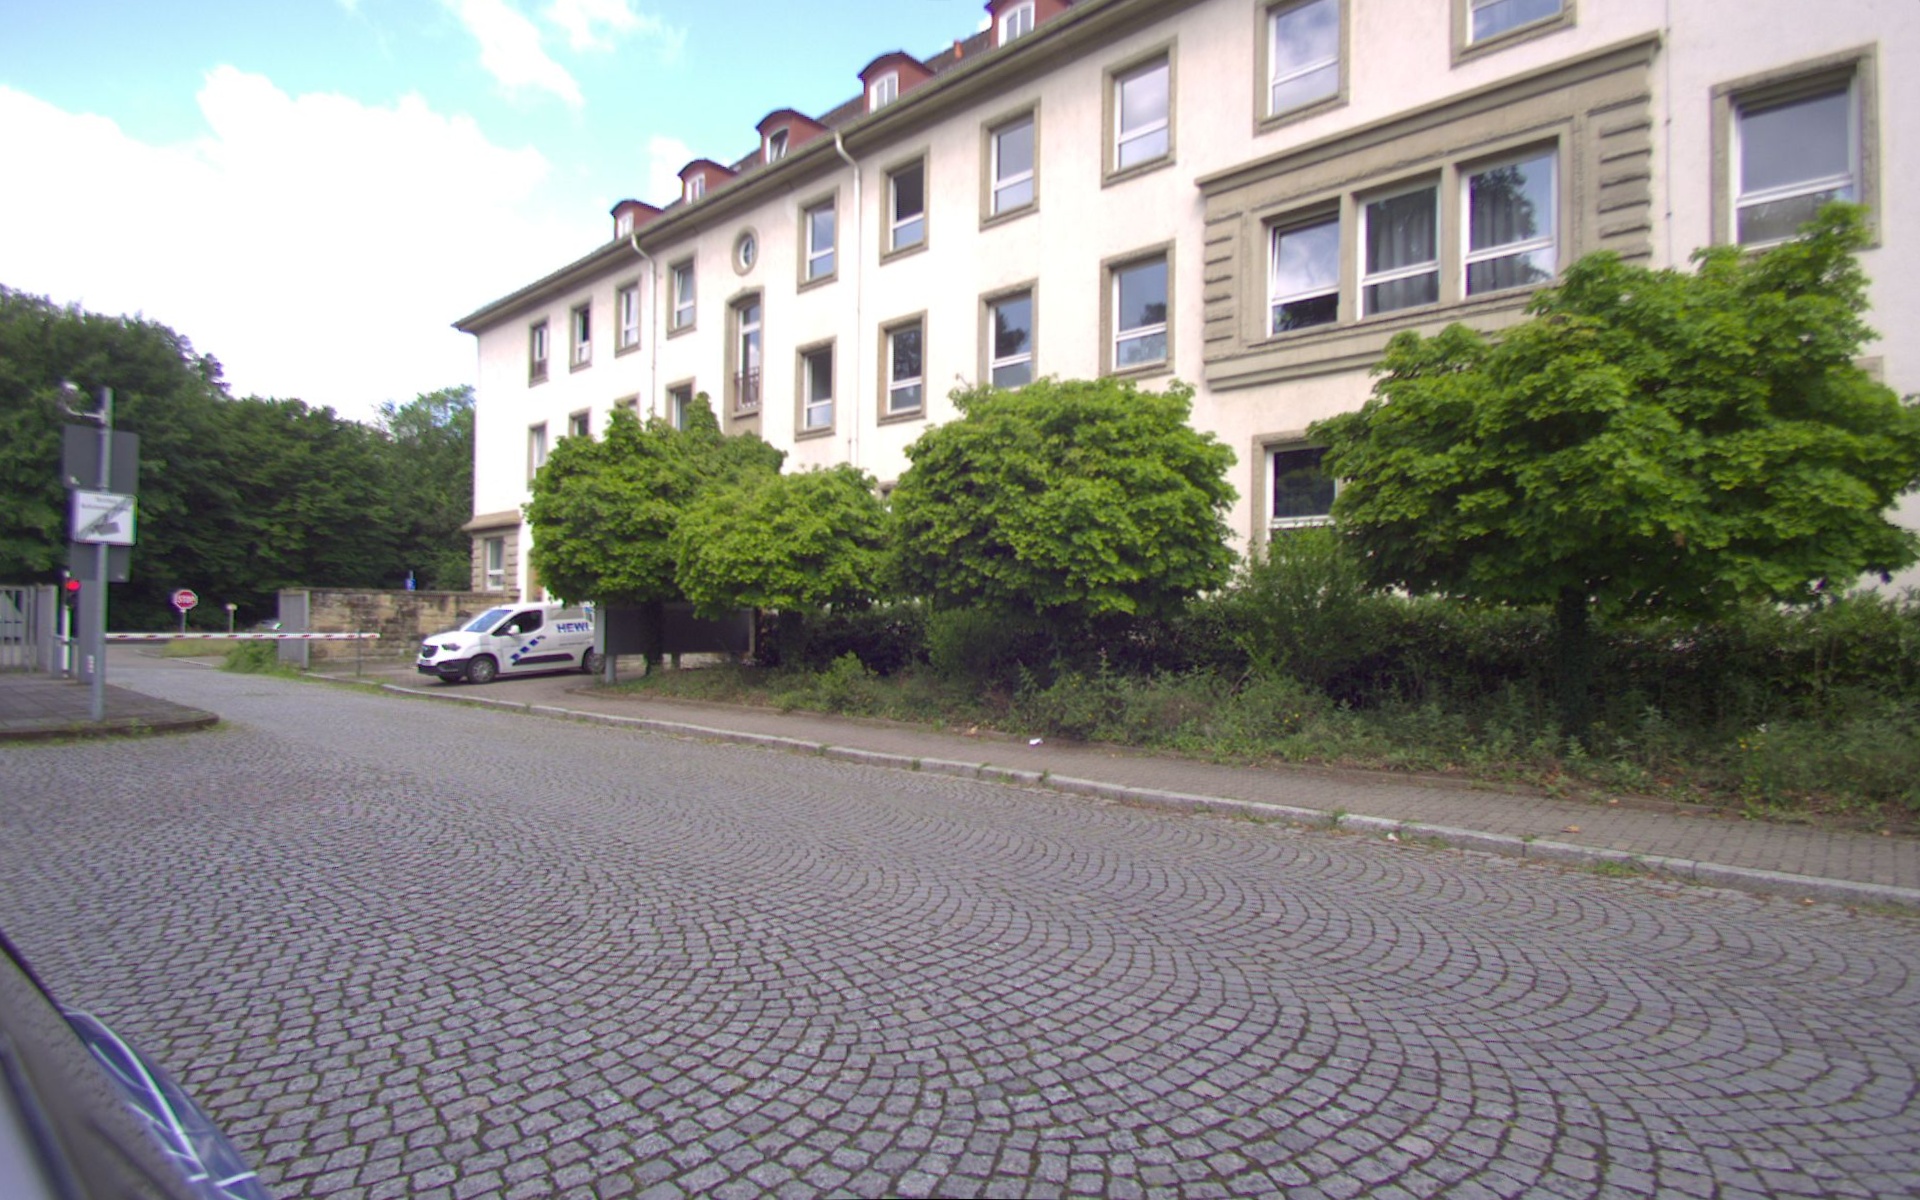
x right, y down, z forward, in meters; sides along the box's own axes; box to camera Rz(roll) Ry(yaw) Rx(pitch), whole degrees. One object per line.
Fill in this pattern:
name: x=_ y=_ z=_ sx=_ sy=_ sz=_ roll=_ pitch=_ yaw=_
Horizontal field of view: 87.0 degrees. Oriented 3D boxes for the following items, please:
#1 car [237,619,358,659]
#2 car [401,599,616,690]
car: x=-27.203 y=1.569 z=41.628 sx=3.938 sy=1.529 sz=1.804 roll=1 pitch=-2 yaw=-42
car: x=-10.534 y=0.953 z=23.874 sx=1.819 sy=1.819 sz=4.258 roll=0 pitch=1 yaw=40
